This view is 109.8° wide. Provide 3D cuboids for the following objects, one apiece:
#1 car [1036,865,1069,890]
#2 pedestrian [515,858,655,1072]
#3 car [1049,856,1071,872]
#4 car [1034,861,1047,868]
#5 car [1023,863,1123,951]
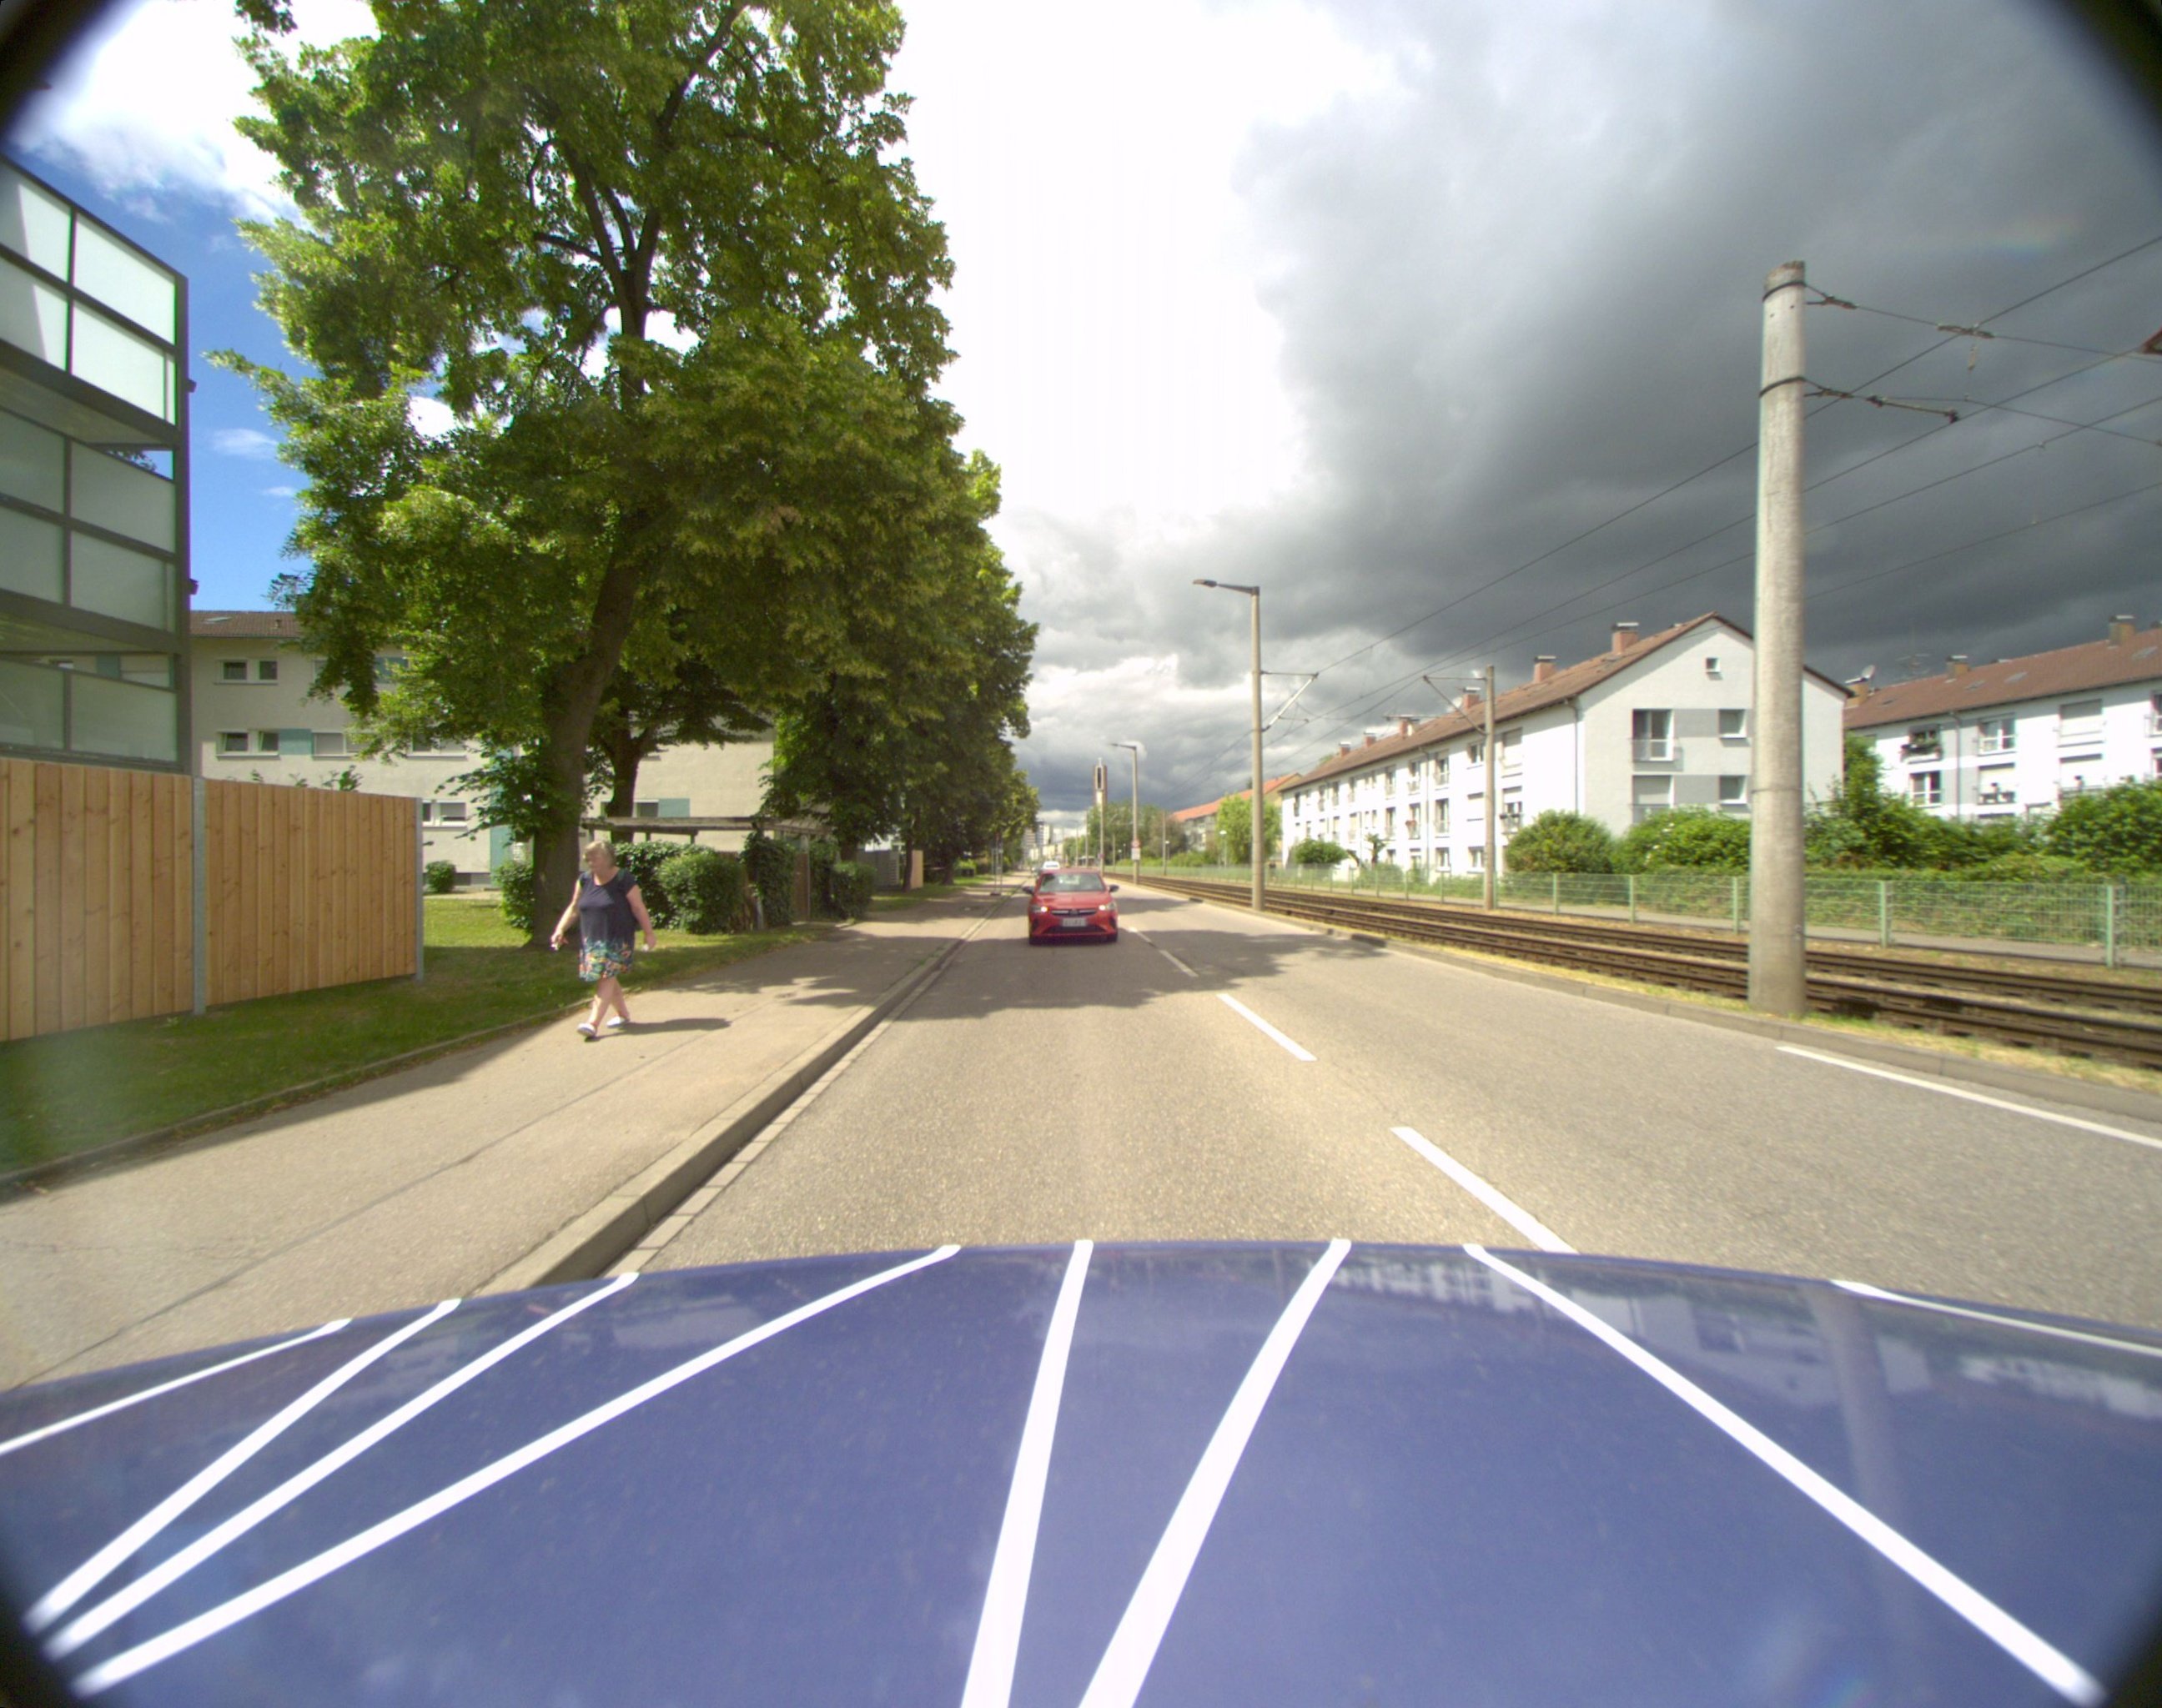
[{"bbox_3d":[-1.668,1.386,45.701,1.763,1.389,4.000,1,0,0],"label":"car"},{"bbox_3d":[-4.096,0.869,6.345,0.684,1.650,0.831,0,-1,-8],"label":"pedestrian"},{"bbox_3d":[-2.144,1.002,77.455,1.999,1.598,3.998,0,0,-4],"label":"car"},{"bbox_3d":[-7.606,1.943,142.982,1.917,1.309,4.002,1,0,5],"label":"car"},{"bbox_3d":[-0.125,0.985,15.767,1.766,1.548,4.000,-2,-1,1],"label":"car"}]
